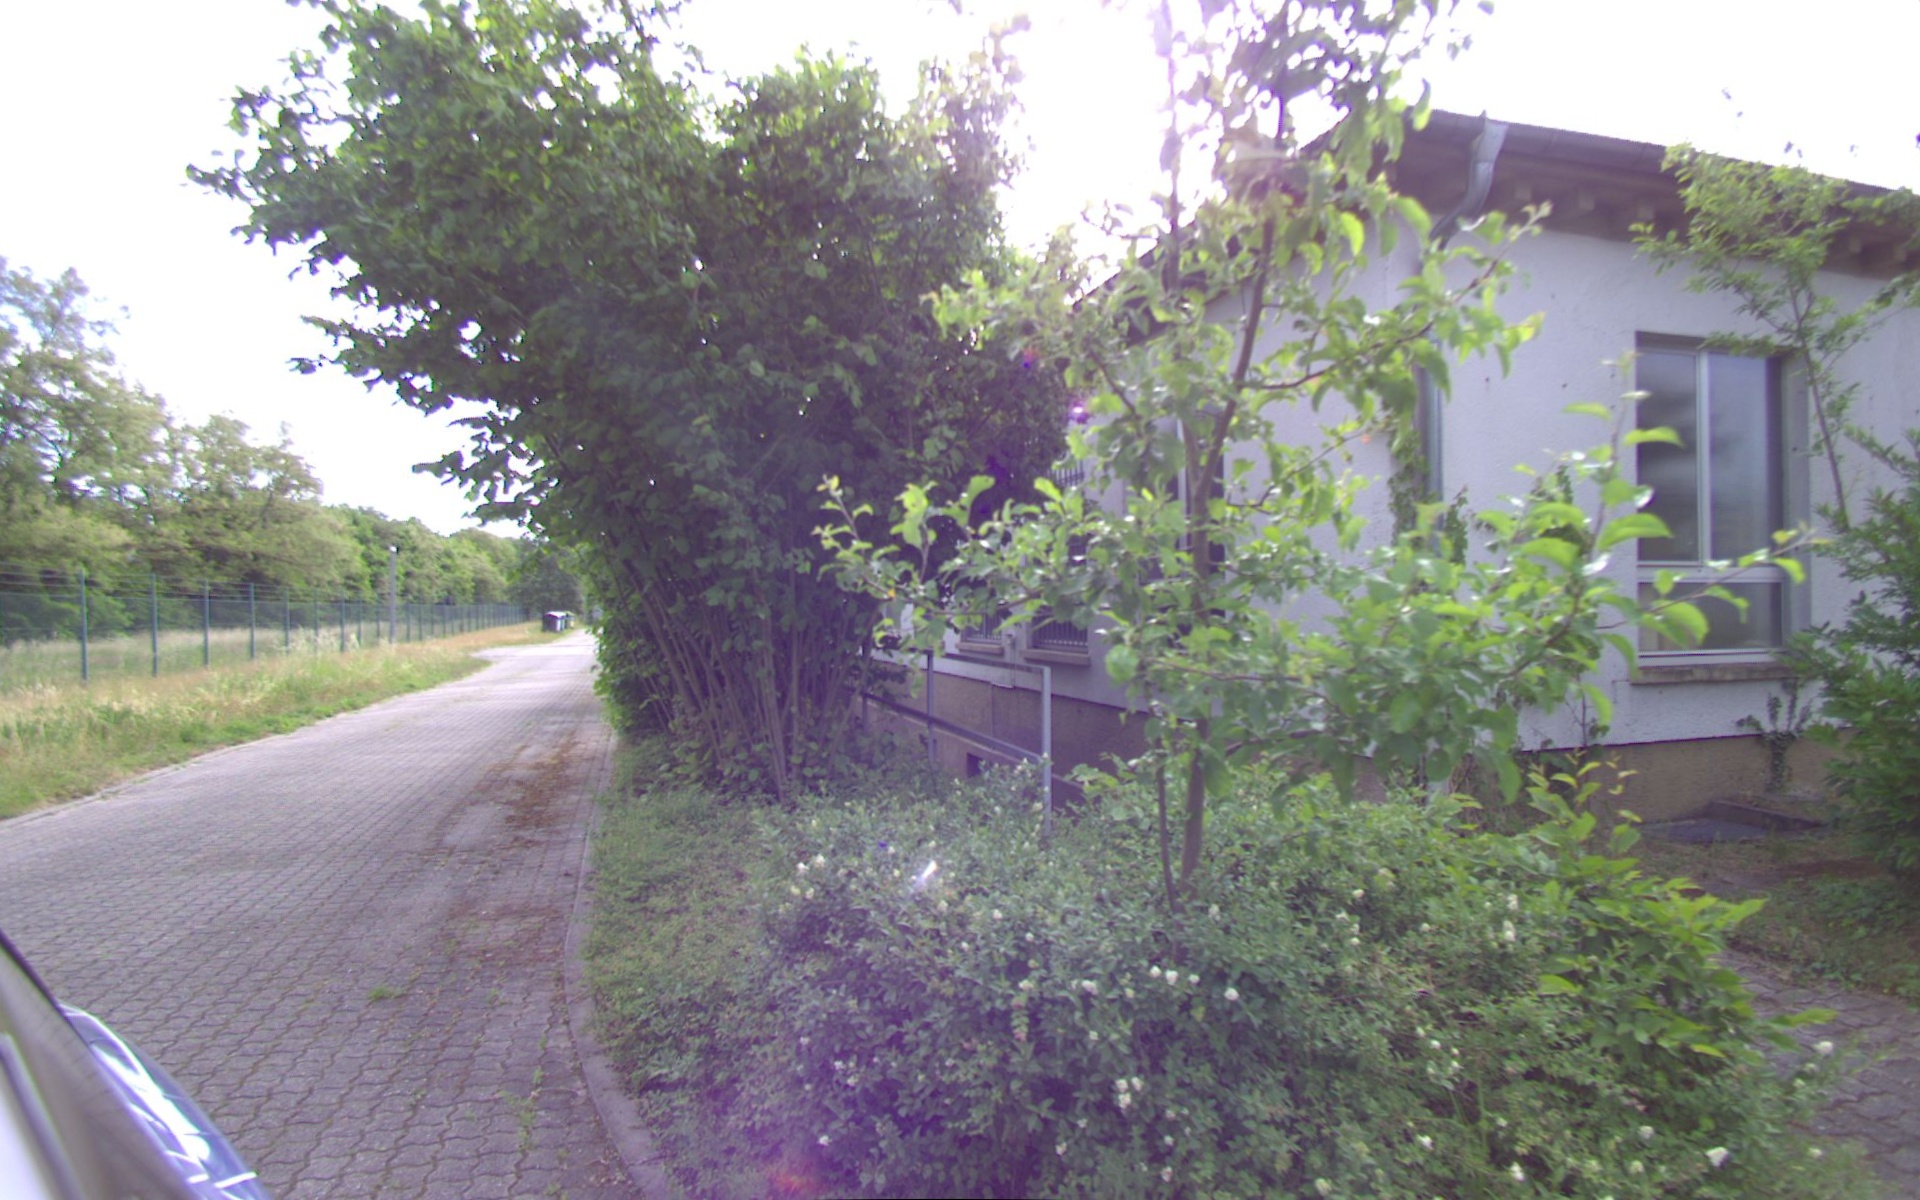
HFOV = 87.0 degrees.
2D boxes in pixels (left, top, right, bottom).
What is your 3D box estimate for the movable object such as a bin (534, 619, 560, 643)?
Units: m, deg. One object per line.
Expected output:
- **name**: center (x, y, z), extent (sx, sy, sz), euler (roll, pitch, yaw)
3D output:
- **movable object such as a bin**: center (-26.729, 2.025, 65.558), extent (1.414, 1.509, 1.838), euler (0, -1, -17)
